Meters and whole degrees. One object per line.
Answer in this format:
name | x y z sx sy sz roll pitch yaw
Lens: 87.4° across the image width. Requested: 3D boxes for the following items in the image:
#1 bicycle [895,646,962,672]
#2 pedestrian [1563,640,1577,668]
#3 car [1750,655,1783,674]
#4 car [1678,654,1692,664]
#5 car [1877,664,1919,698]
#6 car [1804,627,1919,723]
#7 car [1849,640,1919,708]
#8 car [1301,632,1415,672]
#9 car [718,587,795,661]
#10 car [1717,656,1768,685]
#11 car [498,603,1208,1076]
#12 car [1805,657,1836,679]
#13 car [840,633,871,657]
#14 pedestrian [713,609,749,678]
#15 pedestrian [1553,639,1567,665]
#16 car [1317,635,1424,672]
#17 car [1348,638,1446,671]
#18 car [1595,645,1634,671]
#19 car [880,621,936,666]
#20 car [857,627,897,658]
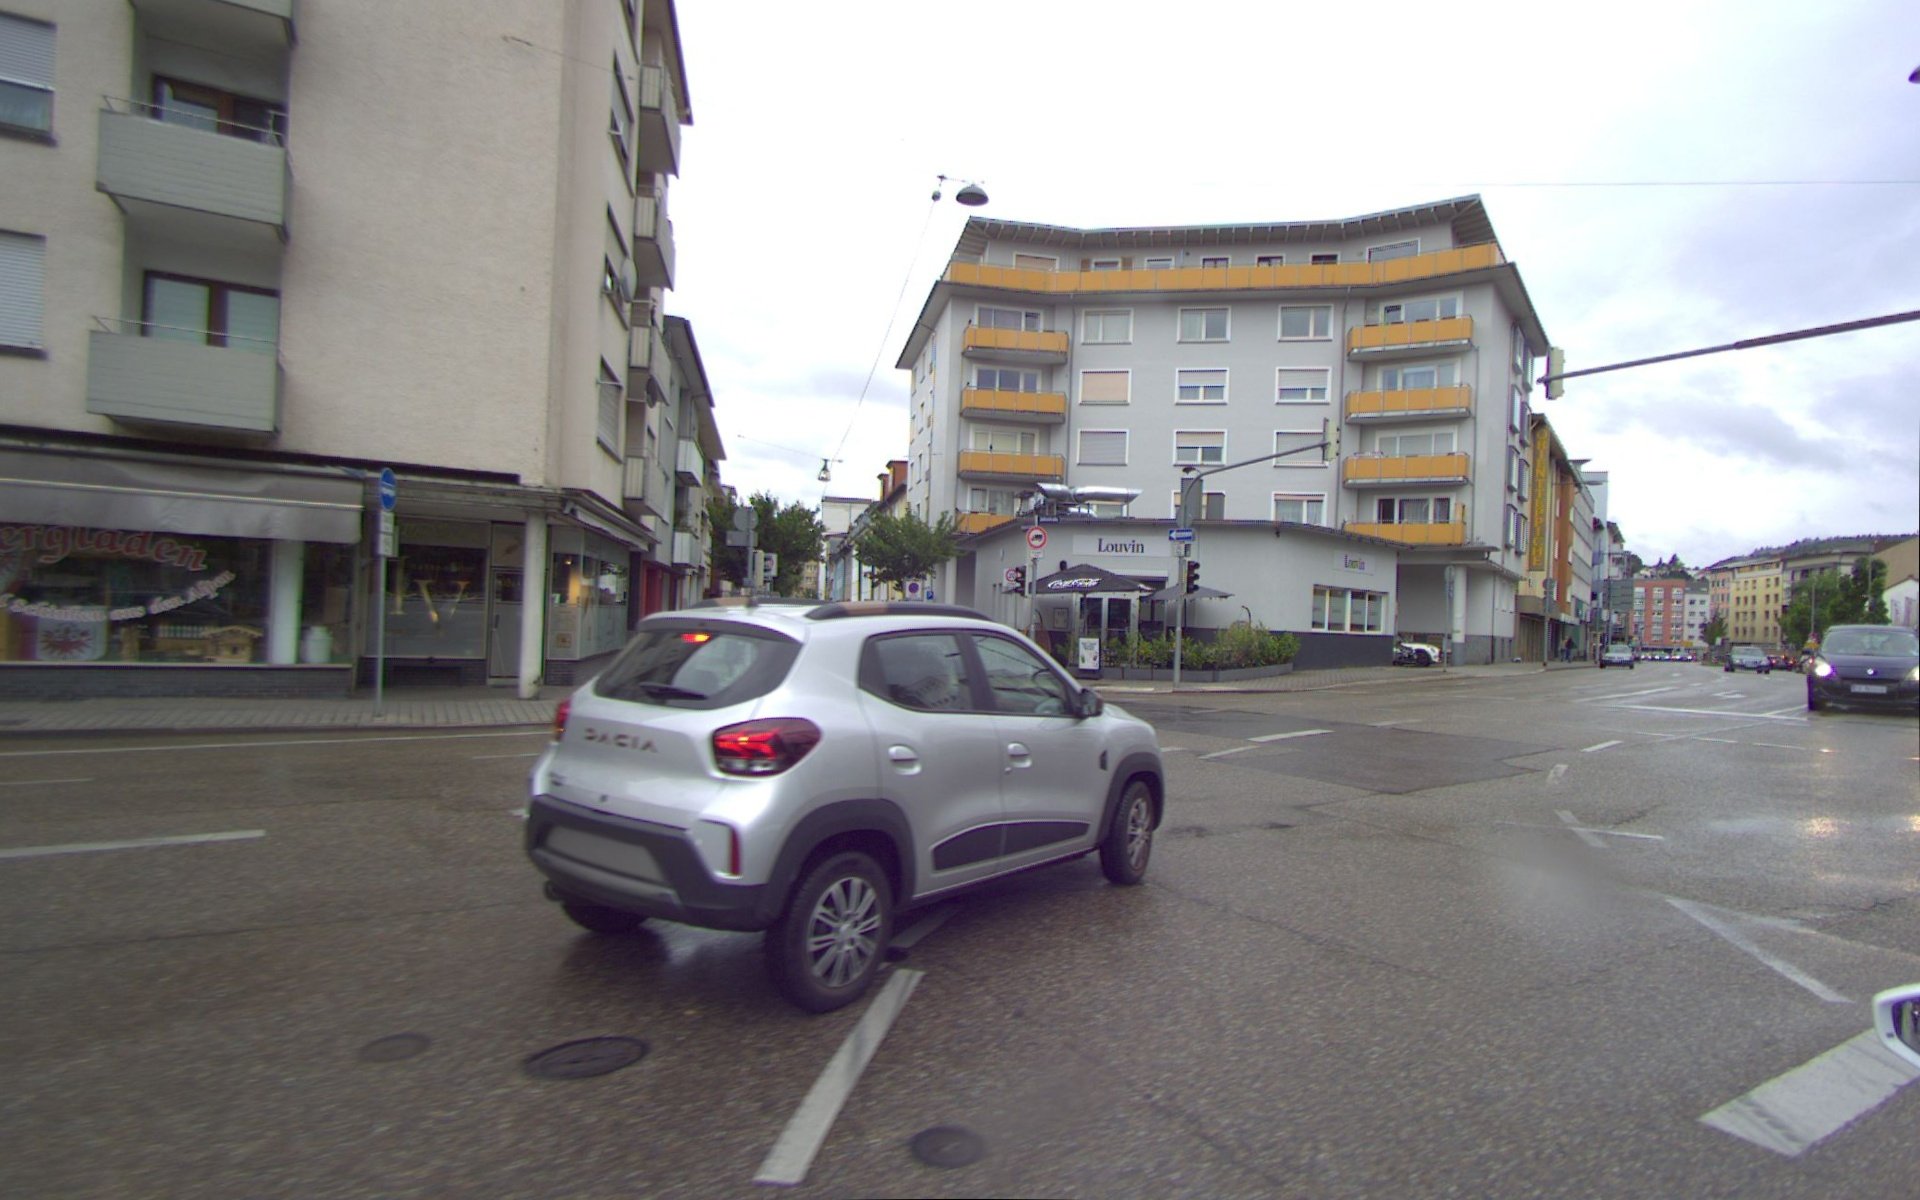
bicycle | -1.052 1.974 33.555 2.174 0.819 0.618 2 -1 -15
pedestrian | 41.496 3.685 68.331 0.567 1.812 0.824 7 1 36
car | 69.172 5.488 86.166 1.641 1.415 3.858 2 0 31
car | 113.803 9.305 157.616 1.686 1.487 4.813 -1 -4 36
car | 43.488 3.666 45.715 1.764 1.421 4.623 -1 -3 32
car | 17.481 1.367 19.361 1.736 1.636 4.189 0 -2 42
car | 21.420 1.641 22.972 1.539 1.416 3.707 -2 -3 42
car | 15.257 2.002 38.547 3.764 1.439 1.792 -2 -5 37
car | -7.607 0.898 38.033 2.362 2.542 5.252 2 -1 -7
car | 43.122 3.853 55.421 1.708 1.458 4.404 1 -2 32
car | -0.198 0.822 5.125 1.517 1.481 3.616 1 -1 37
car | 62.721 4.935 73.222 1.645 1.414 3.849 0 -2 40
car | -6.937 2.959 66.231 1.867 1.457 3.995 2 -1 -8
pedestrian | -5.762 1.088 25.287 0.597 1.672 0.523 5 -1 -33
pedestrian | 41.023 3.549 68.702 0.622 1.697 0.905 7 1 35
car | 16.558 2.165 40.587 3.709 1.439 1.632 -2 -4 37
car | 18.377 2.285 42.292 3.574 1.355 1.491 -2 -3 34
car | 39.774 3.550 60.999 1.706 1.384 4.096 1 -3 37
car | -2.090 1.650 39.063 1.867 1.630 3.996 2 -1 -7
car | -4.275 2.151 51.268 1.867 1.457 3.996 2 -1 -7
